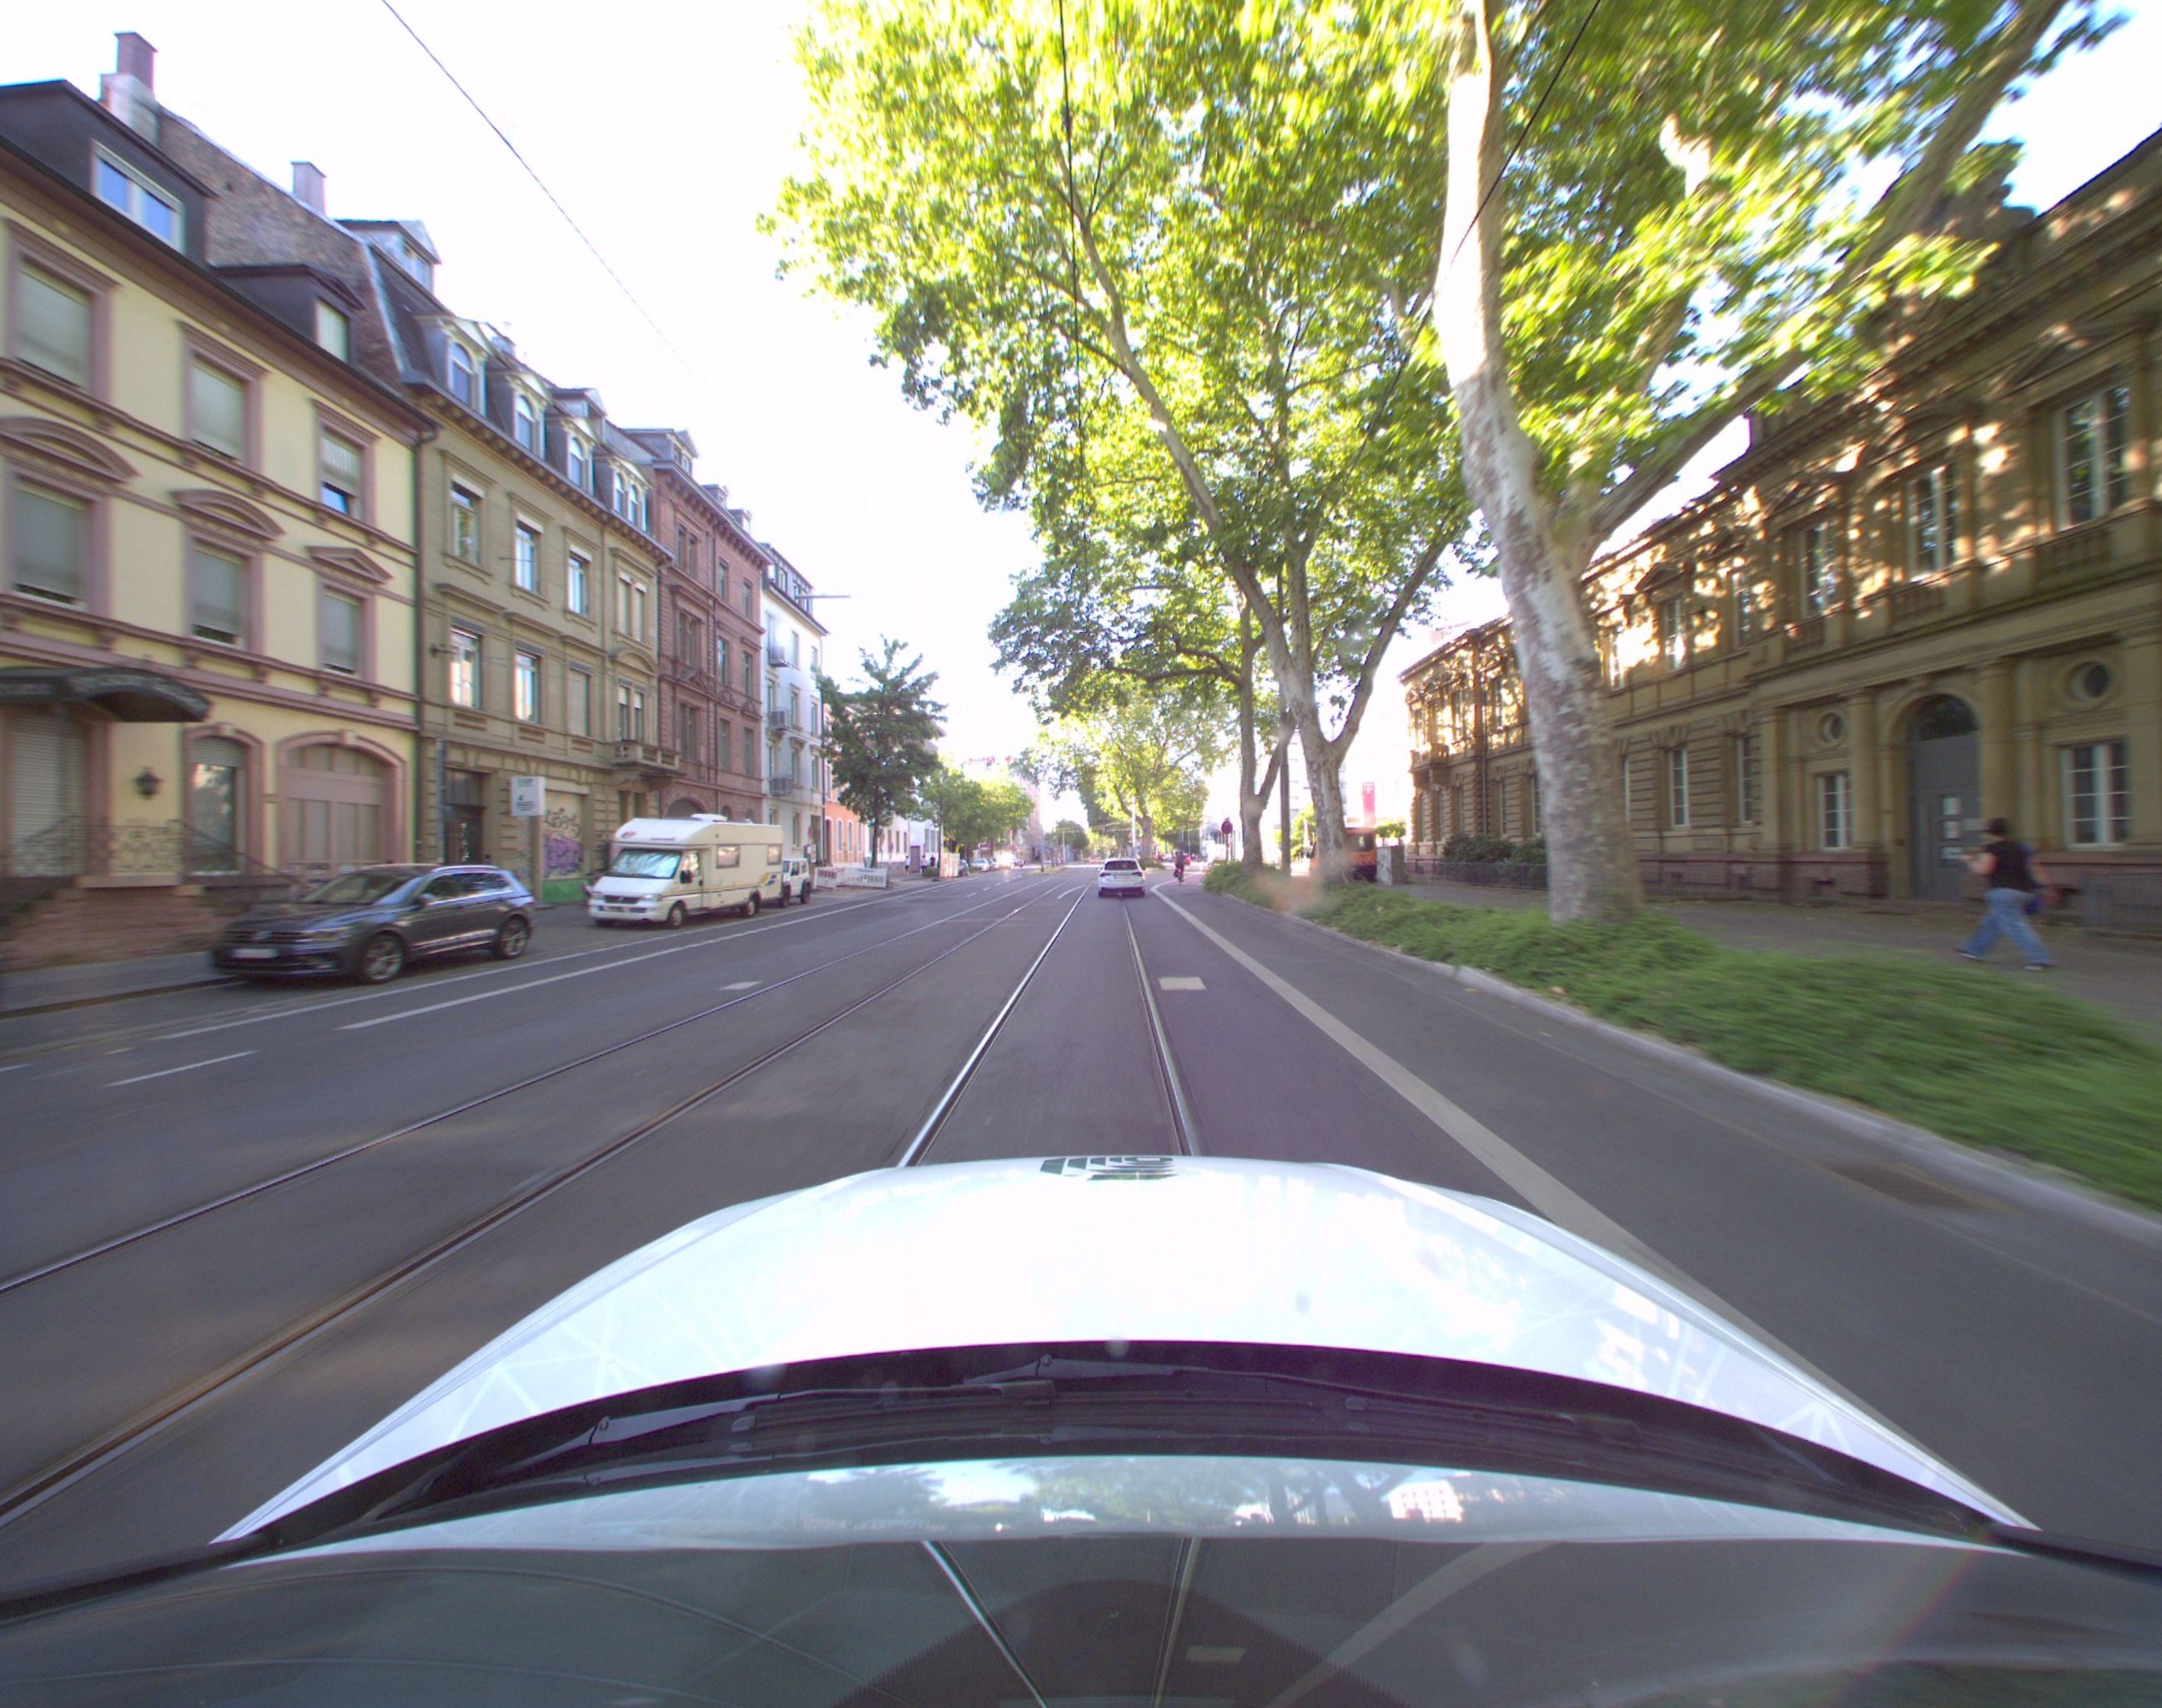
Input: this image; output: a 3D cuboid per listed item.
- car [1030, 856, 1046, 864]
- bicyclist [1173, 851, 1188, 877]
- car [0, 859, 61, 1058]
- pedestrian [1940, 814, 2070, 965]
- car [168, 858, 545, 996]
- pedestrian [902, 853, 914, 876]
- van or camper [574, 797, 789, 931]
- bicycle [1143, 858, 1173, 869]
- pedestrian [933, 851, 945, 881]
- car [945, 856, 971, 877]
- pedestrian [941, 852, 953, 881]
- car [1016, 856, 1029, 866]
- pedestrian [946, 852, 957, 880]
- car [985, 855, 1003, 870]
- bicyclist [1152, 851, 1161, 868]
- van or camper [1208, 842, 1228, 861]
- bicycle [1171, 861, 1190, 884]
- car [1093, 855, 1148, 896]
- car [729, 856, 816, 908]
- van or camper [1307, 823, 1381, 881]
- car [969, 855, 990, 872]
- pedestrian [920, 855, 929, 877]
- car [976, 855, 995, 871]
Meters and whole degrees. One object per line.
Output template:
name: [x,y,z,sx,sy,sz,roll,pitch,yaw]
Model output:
car: [-11.051,1.530,207.217,3.773,1.818,1.807,0,0,7]
bicyclist: [5.103,0.510,41.834,0.676,1.339,0.525,0,-1,0]
car: [-10.708,0.927,5.265,1.958,1.781,4.936,2,0,-1]
pedestrian: [10.518,0.384,9.310,0.642,1.633,0.876,0,-1,20]
car: [-10.931,0.964,12.880,1.958,1.781,4.469,0,0,0]
pedestrian: [-14.880,0.886,70.089,0.740,2.002,0.652,0,0,39]
van or camper: [-10.718,0.239,22.804,2.208,3.140,7.118,0,0,3]
bicycle: [7.176,0.838,75.943,2.749,0.999,0.595,0,0,15]
pedestrian: [-9.641,0.808,55.379,0.598,2.002,0.750,0,0,5]
car: [-10.453,1.030,69.368,1.636,1.726,3.783,0,0,0]
pedestrian: [-9.455,0.862,57.409,0.643,2.002,0.750,0,0,5]
car: [-8.486,0.984,118.180,1.630,1.477,3.782,0,0,-1]
pedestrian: [-9.437,0.881,59.413,0.643,2.002,0.750,0,0,5]
car: [-10.509,0.989,98.960,1.788,1.726,3.783,0,0,0]
bicyclist: [7.029,0.525,75.990,0.731,1.589,0.589,-1,0,13]
van or camper: [17.253,-0.252,102.788,1.986,2.343,4.001,0,0,2]
bicycle: [5.063,0.932,41.702,0.677,1.155,2.965,0,0,1]
car: [1.429,0.776,30.910,1.837,1.480,3.836,0,0,-1]
car: [-10.827,0.933,28.856,1.636,1.726,3.783,0,0,0]
van or camper: [12.029,-0.069,37.577,2.019,2.464,5.112,0,0,3]
car: [-10.698,1.014,86.079,1.788,1.726,3.783,0,0,0]
pedestrian: [-12.877,0.962,67.071,0.600,1.772,0.699,0,-1,-5]
car: [-10.764,0.995,91.970,1.788,1.726,3.783,0,0,0]
